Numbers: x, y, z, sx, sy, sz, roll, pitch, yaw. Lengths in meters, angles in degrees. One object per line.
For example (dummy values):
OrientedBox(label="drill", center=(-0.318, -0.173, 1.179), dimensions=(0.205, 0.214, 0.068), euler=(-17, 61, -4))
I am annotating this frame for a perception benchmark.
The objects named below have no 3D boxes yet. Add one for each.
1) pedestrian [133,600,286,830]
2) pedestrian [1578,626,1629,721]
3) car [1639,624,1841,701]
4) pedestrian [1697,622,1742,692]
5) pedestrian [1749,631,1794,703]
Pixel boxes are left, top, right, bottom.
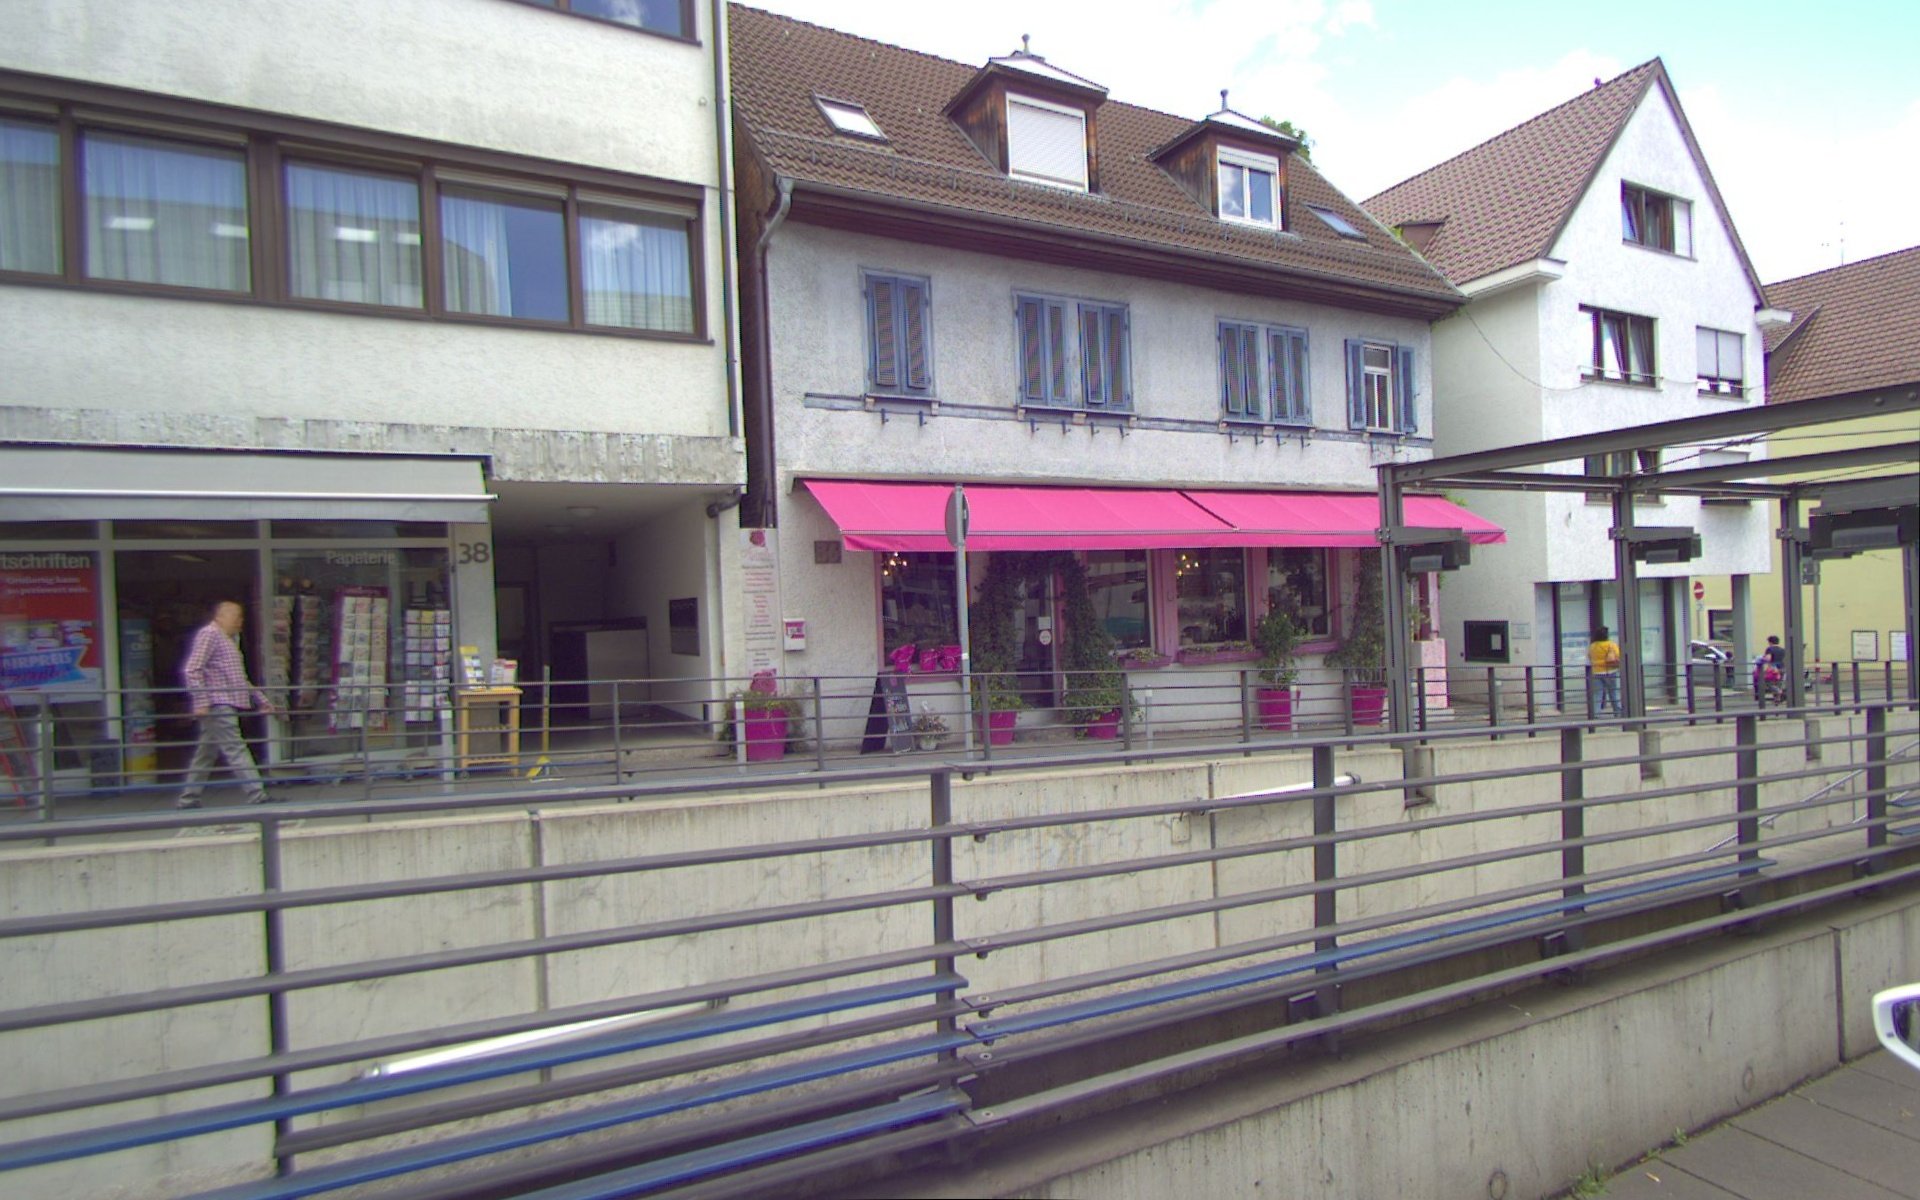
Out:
OrientedBox(label="pedestrian", center=(-5.906, 0.873, 7.954), dimensions=(0.816, 1.711, 0.637), euler=(1, -2, -25))
OrientedBox(label="pedestrian", center=(11.967, 1.346, 18.675), dimensions=(0.570, 1.711, 0.575), euler=(1, 0, -30))
OrientedBox(label="car", center=(21.771, 1.674, 28.275), dimensions=(1.805, 1.754, 4.178), euler=(1, 2, -16))
OrientedBox(label="pedestrian", center=(19.145, 1.430, 25.322), dimensions=(0.722, 1.711, 0.648), euler=(1, 0, -32))
OrientedBox(label="pedestrian", center=(19.816, 1.623, 24.522), dimensions=(0.671, 1.711, 0.622), euler=(1, 0, -30))
